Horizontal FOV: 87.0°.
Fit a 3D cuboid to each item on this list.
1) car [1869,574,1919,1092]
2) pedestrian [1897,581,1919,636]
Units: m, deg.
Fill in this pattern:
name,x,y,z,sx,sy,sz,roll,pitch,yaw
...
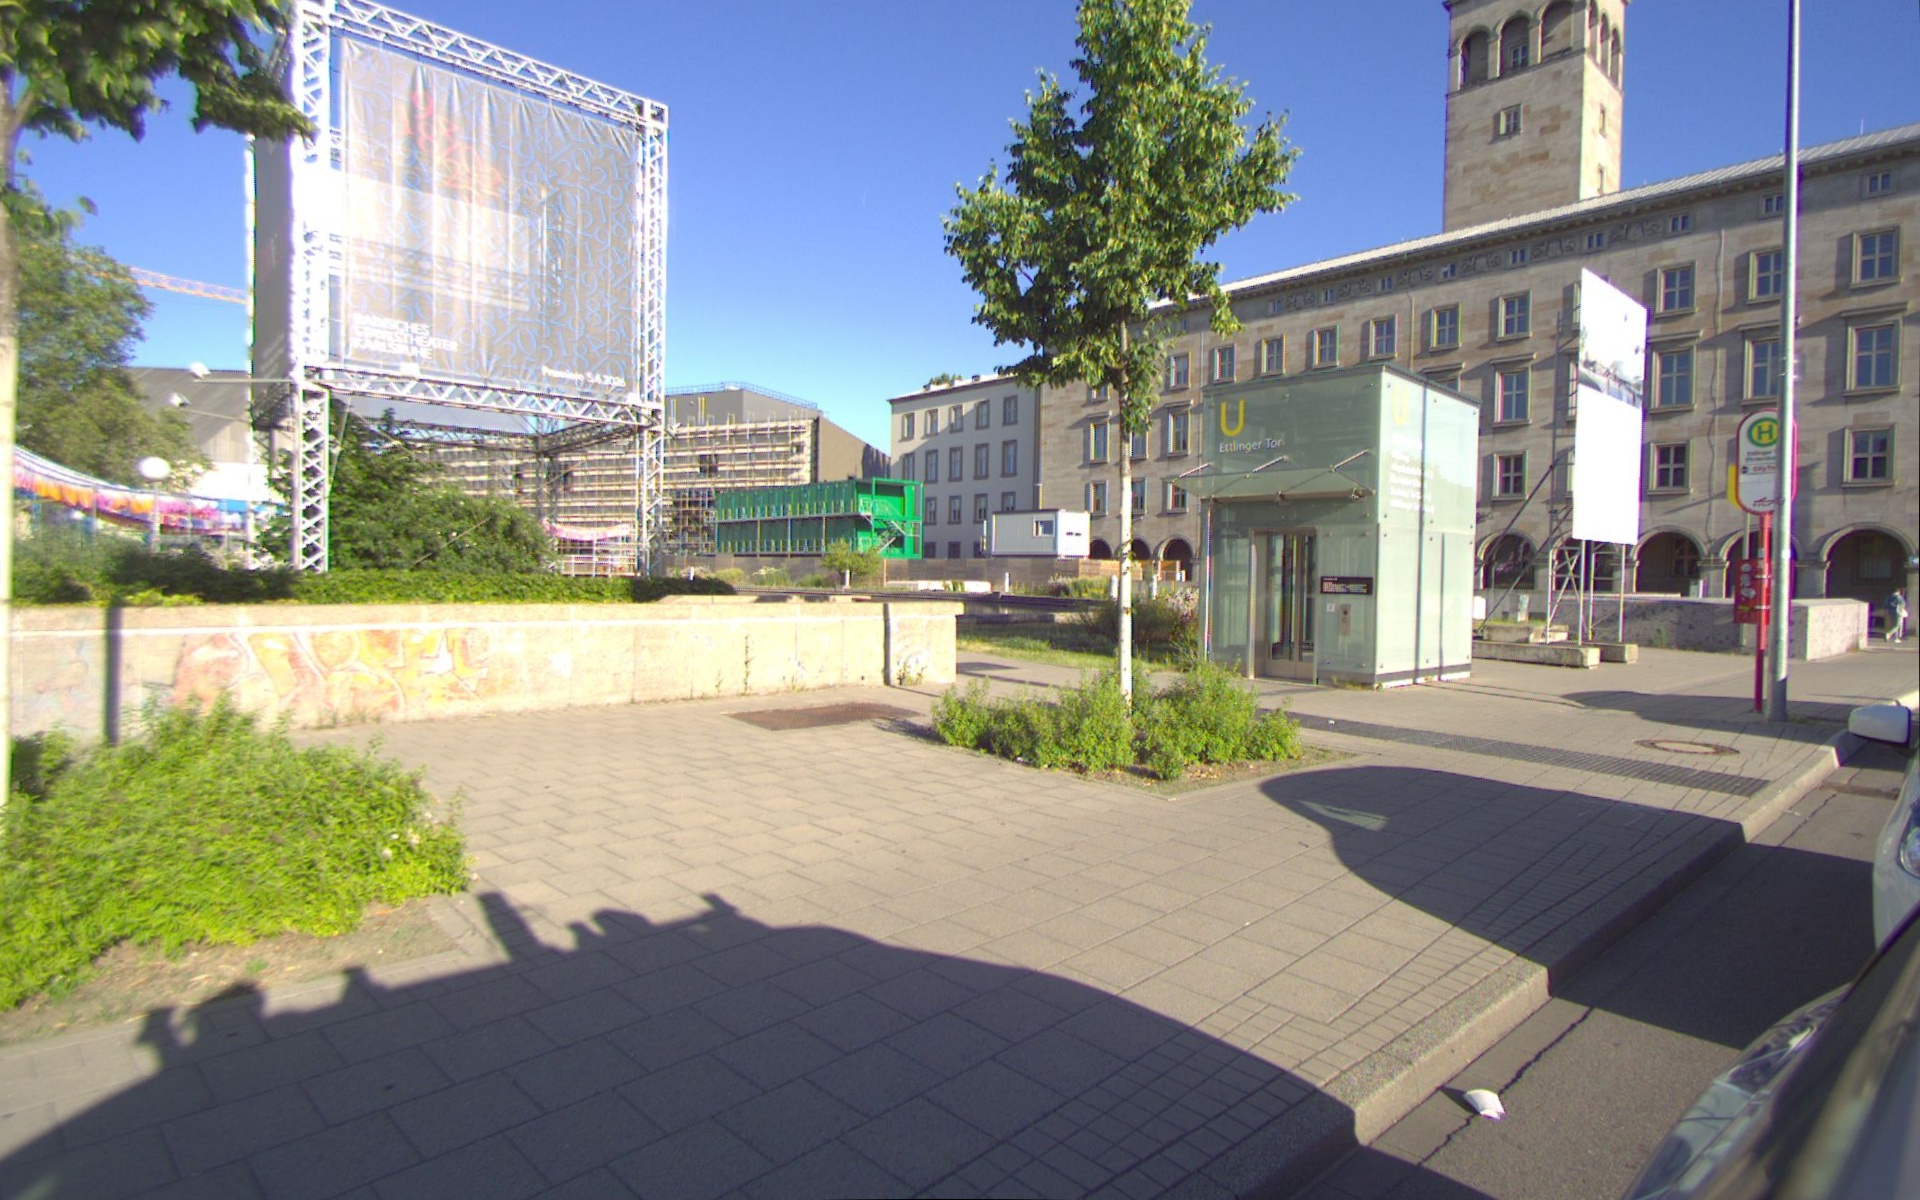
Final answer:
name,x,y,z,sx,sy,sz,roll,pitch,yaw
car,4.646,0.680,3.663,3.930,1.473,1.518,0,2,-41
pedestrian,30.330,0.265,32.243,0.572,1.732,0.595,0,1,-41
